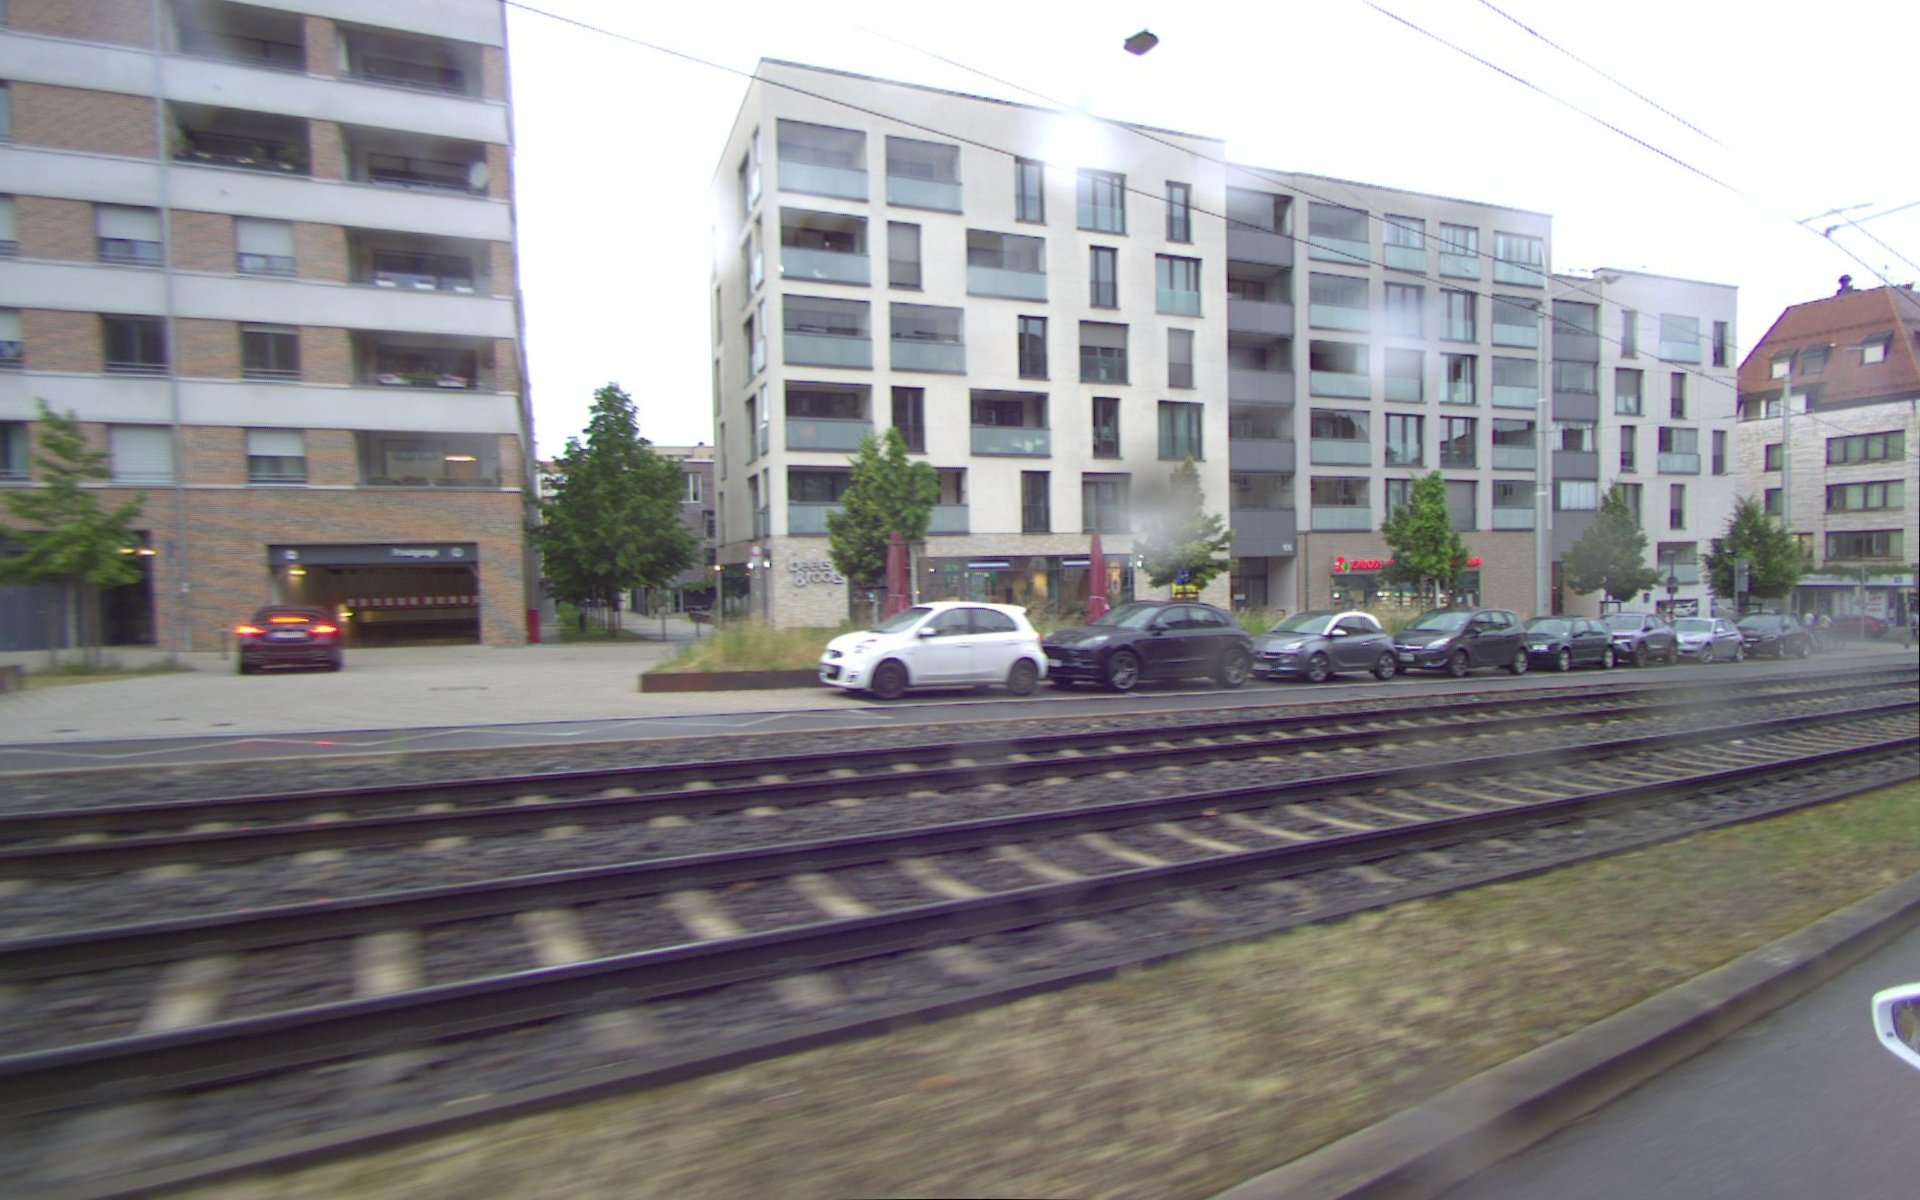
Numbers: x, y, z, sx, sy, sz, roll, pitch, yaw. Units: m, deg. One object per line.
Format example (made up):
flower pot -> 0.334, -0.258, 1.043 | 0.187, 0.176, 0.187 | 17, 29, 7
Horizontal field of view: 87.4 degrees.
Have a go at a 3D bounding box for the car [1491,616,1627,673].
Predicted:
car -> 16.263, 1.176, 27.229 | 3.966, 1.380, 1.540 | 1, 1, -33

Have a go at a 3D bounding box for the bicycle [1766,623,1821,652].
bicycle -> 35.833, 1.597, 43.199 | 1.774, 1.123, 0.454 | 2, 2, 38

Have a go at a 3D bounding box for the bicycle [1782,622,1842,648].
bicycle -> 38.251, 1.560, 45.118 | 0.715, 1.041, 1.932 | 0, 2, -41

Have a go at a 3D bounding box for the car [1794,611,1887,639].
car -> 56.485, 1.585, 64.508 | 1.798, 1.589, 4.122 | 1, 0, -24

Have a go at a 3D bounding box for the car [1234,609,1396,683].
car -> 7.658, 0.954, 21.607 | 3.413, 1.454, 1.540 | 1, 0, -33

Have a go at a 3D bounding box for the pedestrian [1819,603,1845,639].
pedestrian -> 49.852, 1.204, 57.440 | 0.757, 2.041, 0.936 | 0, 1, -33

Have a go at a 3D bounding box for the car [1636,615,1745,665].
car -> 23.764, 1.268, 32.624 | 4.045, 1.524, 1.760 | 1, 0, -37

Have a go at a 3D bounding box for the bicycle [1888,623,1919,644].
bicycle -> 50.288, 1.778, 53.108 | 1.767, 1.078, 0.457 | 0, 0, 22

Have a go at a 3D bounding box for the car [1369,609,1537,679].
car -> 11.933, 1.027, 24.239 | 4.271, 1.533, 1.709 | 1, 0, -33

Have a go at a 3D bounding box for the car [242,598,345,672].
car -> -14.665, 0.729, 22.073 | 1.746, 1.454, 3.961 | 1, -1, -35

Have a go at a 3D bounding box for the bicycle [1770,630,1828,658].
bicycle -> 34.069, 1.771, 40.812 | 1.777, 1.078, 0.455 | 1, 1, 43

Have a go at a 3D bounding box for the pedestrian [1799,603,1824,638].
pedestrian -> 50.419, 1.206, 59.465 | 0.758, 2.041, 0.935 | 0, 1, -37

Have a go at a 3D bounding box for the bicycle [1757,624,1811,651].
bicycle -> 36.413, 1.643, 44.421 | 0.565, 1.078, 1.778 | 0, 2, -45

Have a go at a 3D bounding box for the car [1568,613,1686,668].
car -> 19.955, 1.174, 30.017 | 3.885, 1.524, 1.760 | 1, 0, -37

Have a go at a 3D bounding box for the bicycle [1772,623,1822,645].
bicycle -> 37.171, 1.509, 44.627 | 0.565, 0.878, 1.634 | 0, 2, -43

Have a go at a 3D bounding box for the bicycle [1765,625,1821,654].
bicycle -> 35.268, 1.665, 42.532 | 1.777, 1.078, 0.455 | 3, 2, 43

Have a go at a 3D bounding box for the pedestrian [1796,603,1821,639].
pedestrian -> 49.264, 1.203, 58.295 | 0.758, 2.041, 0.935 | 0, 1, -37

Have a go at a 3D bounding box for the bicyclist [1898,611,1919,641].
bicyclist -> 50.217, 1.367, 53.131 | 0.688, 1.595, 0.462 | 2, 1, 22

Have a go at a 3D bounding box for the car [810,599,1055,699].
car -> -0.452, 0.770, 16.747 | 3.685, 1.499, 1.760 | 1, 0, -26

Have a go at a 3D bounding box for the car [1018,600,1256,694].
car -> 3.368, 0.827, 18.823 | 4.358, 1.582, 1.755 | 1, 0, -33

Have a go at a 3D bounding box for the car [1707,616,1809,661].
car -> 29.157, 1.374, 36.669 | 4.197, 1.524, 1.898 | 1, 0, -37

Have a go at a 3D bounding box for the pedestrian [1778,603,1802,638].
pedestrian -> 49.263, 1.200, 59.628 | 0.758, 2.041, 0.935 | 0, 1, -37
